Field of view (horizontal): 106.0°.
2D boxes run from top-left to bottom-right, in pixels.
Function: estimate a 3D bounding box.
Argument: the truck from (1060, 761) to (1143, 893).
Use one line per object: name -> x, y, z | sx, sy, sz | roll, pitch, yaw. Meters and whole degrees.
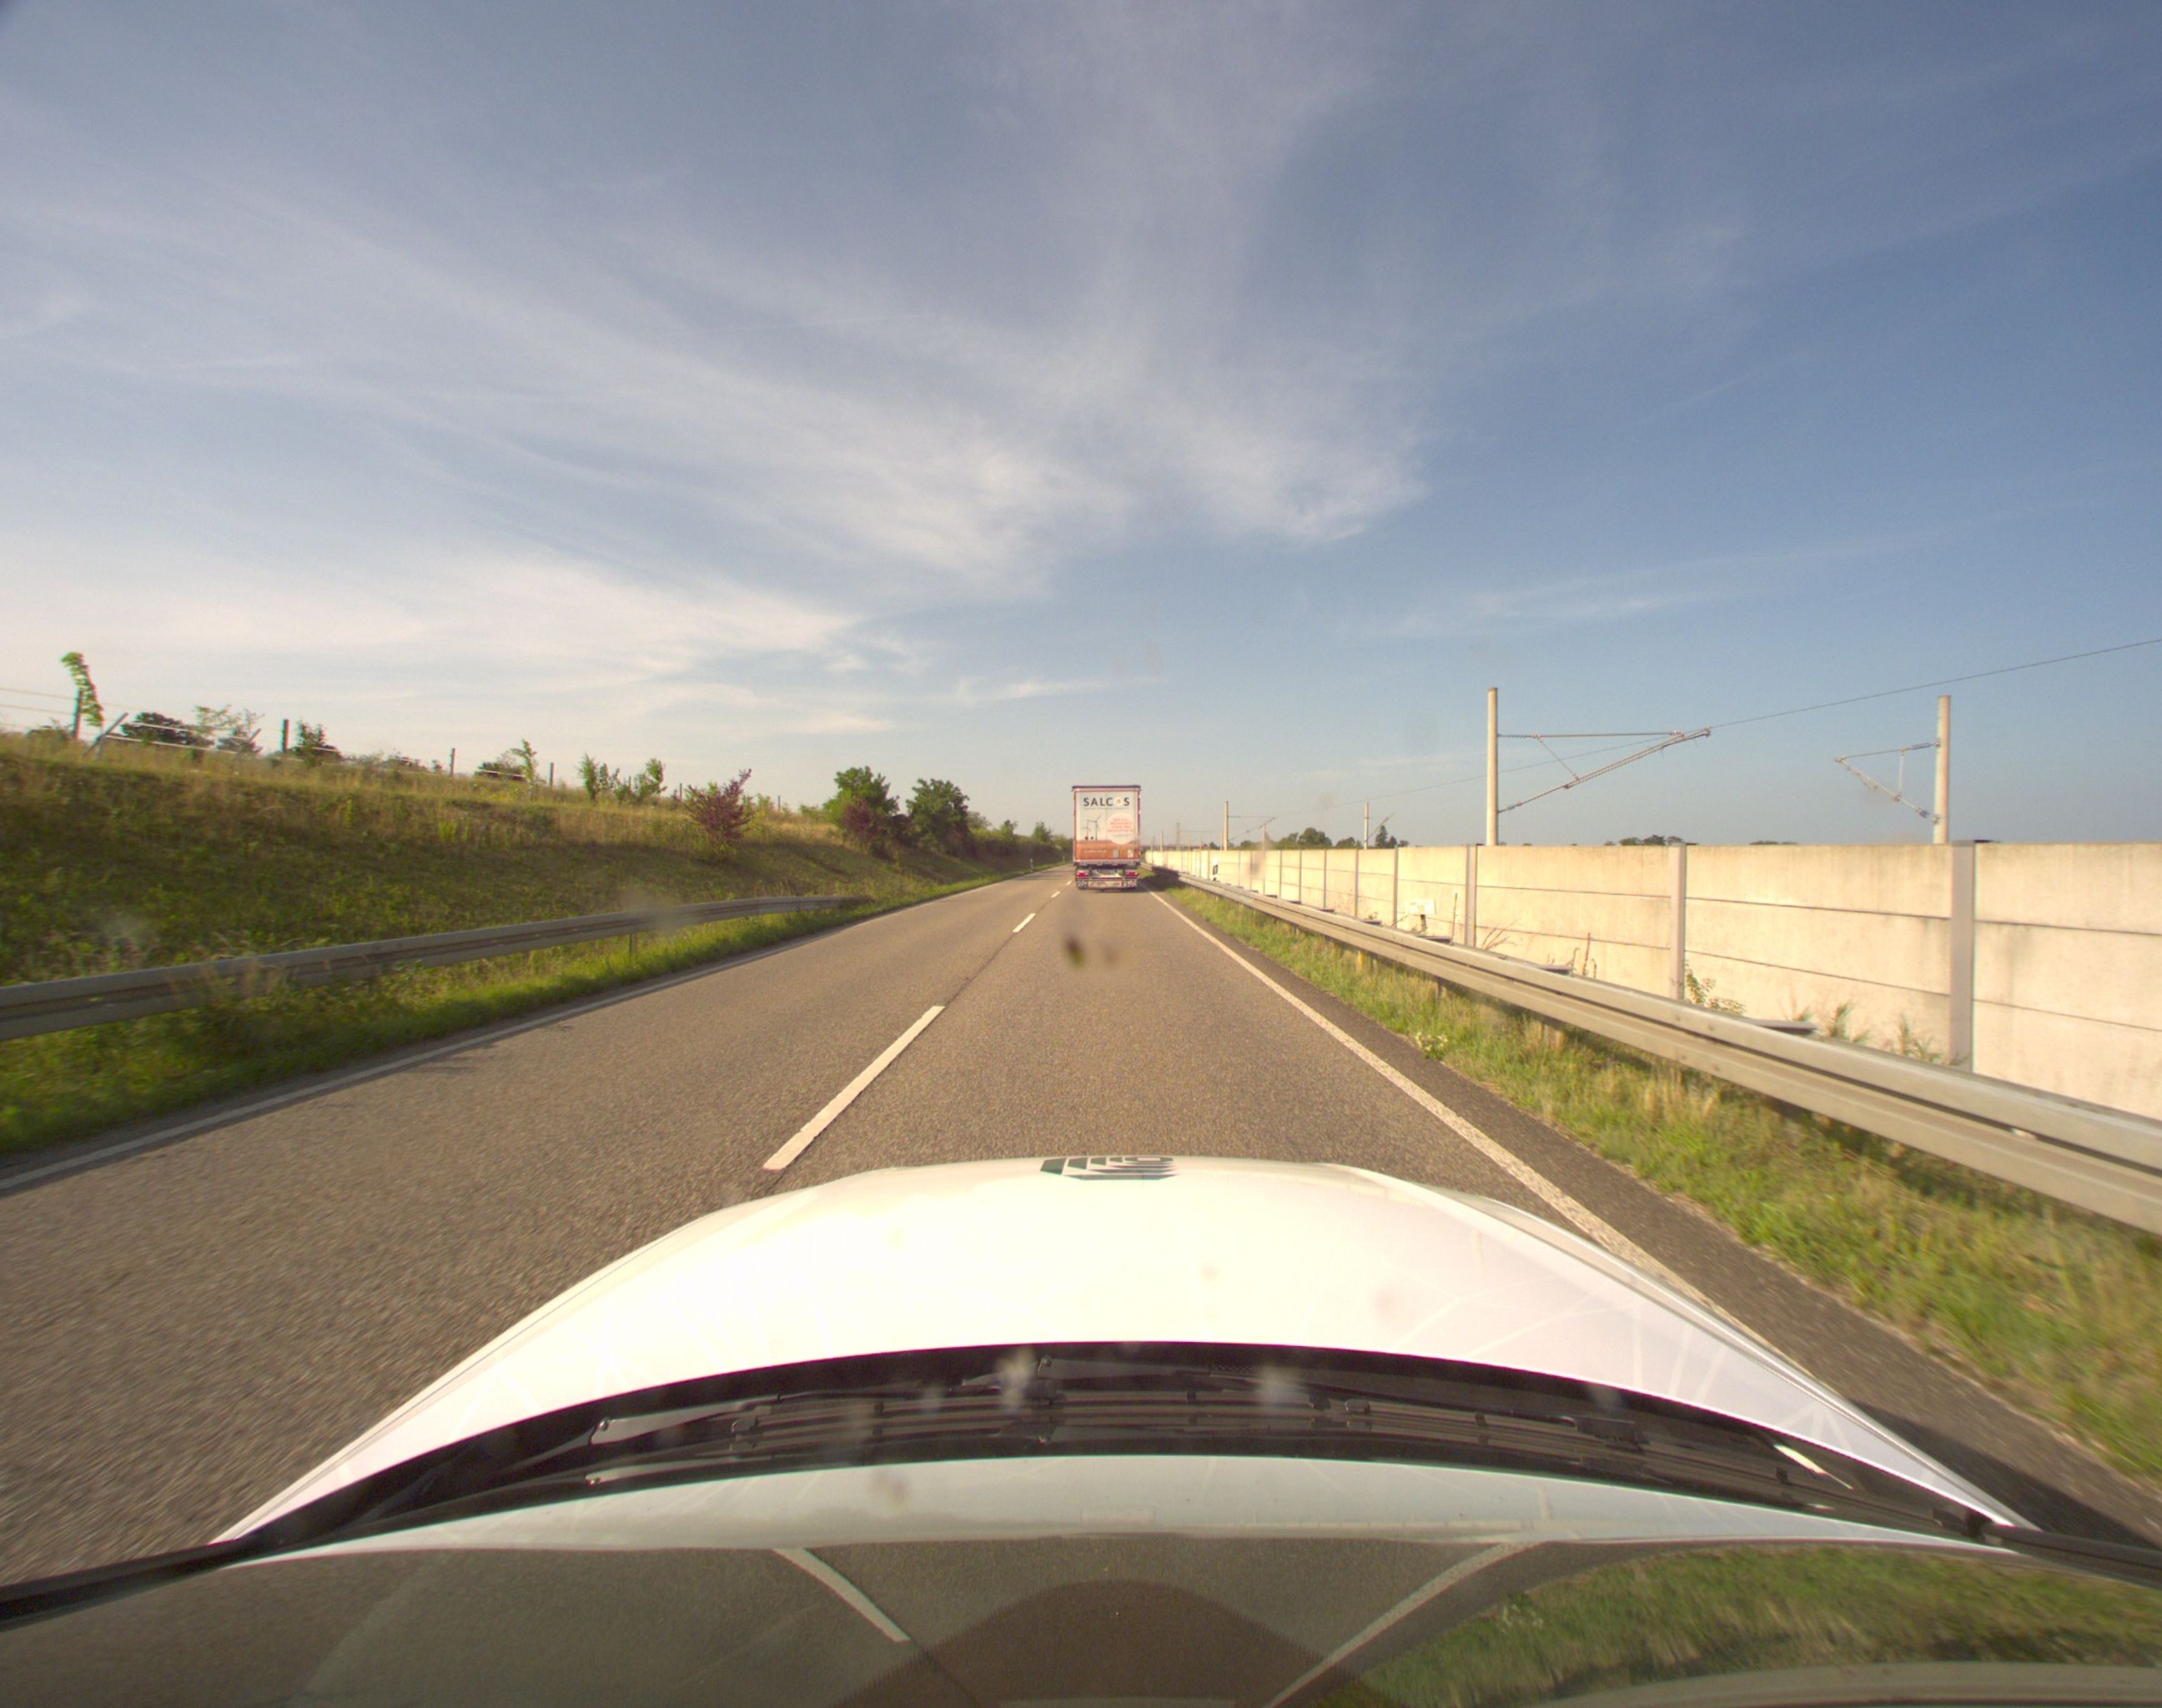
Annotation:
truck -> 0.869, -1.073, 36.373 | 3.022, 4.920, 11.687 | -1, 1, 1
